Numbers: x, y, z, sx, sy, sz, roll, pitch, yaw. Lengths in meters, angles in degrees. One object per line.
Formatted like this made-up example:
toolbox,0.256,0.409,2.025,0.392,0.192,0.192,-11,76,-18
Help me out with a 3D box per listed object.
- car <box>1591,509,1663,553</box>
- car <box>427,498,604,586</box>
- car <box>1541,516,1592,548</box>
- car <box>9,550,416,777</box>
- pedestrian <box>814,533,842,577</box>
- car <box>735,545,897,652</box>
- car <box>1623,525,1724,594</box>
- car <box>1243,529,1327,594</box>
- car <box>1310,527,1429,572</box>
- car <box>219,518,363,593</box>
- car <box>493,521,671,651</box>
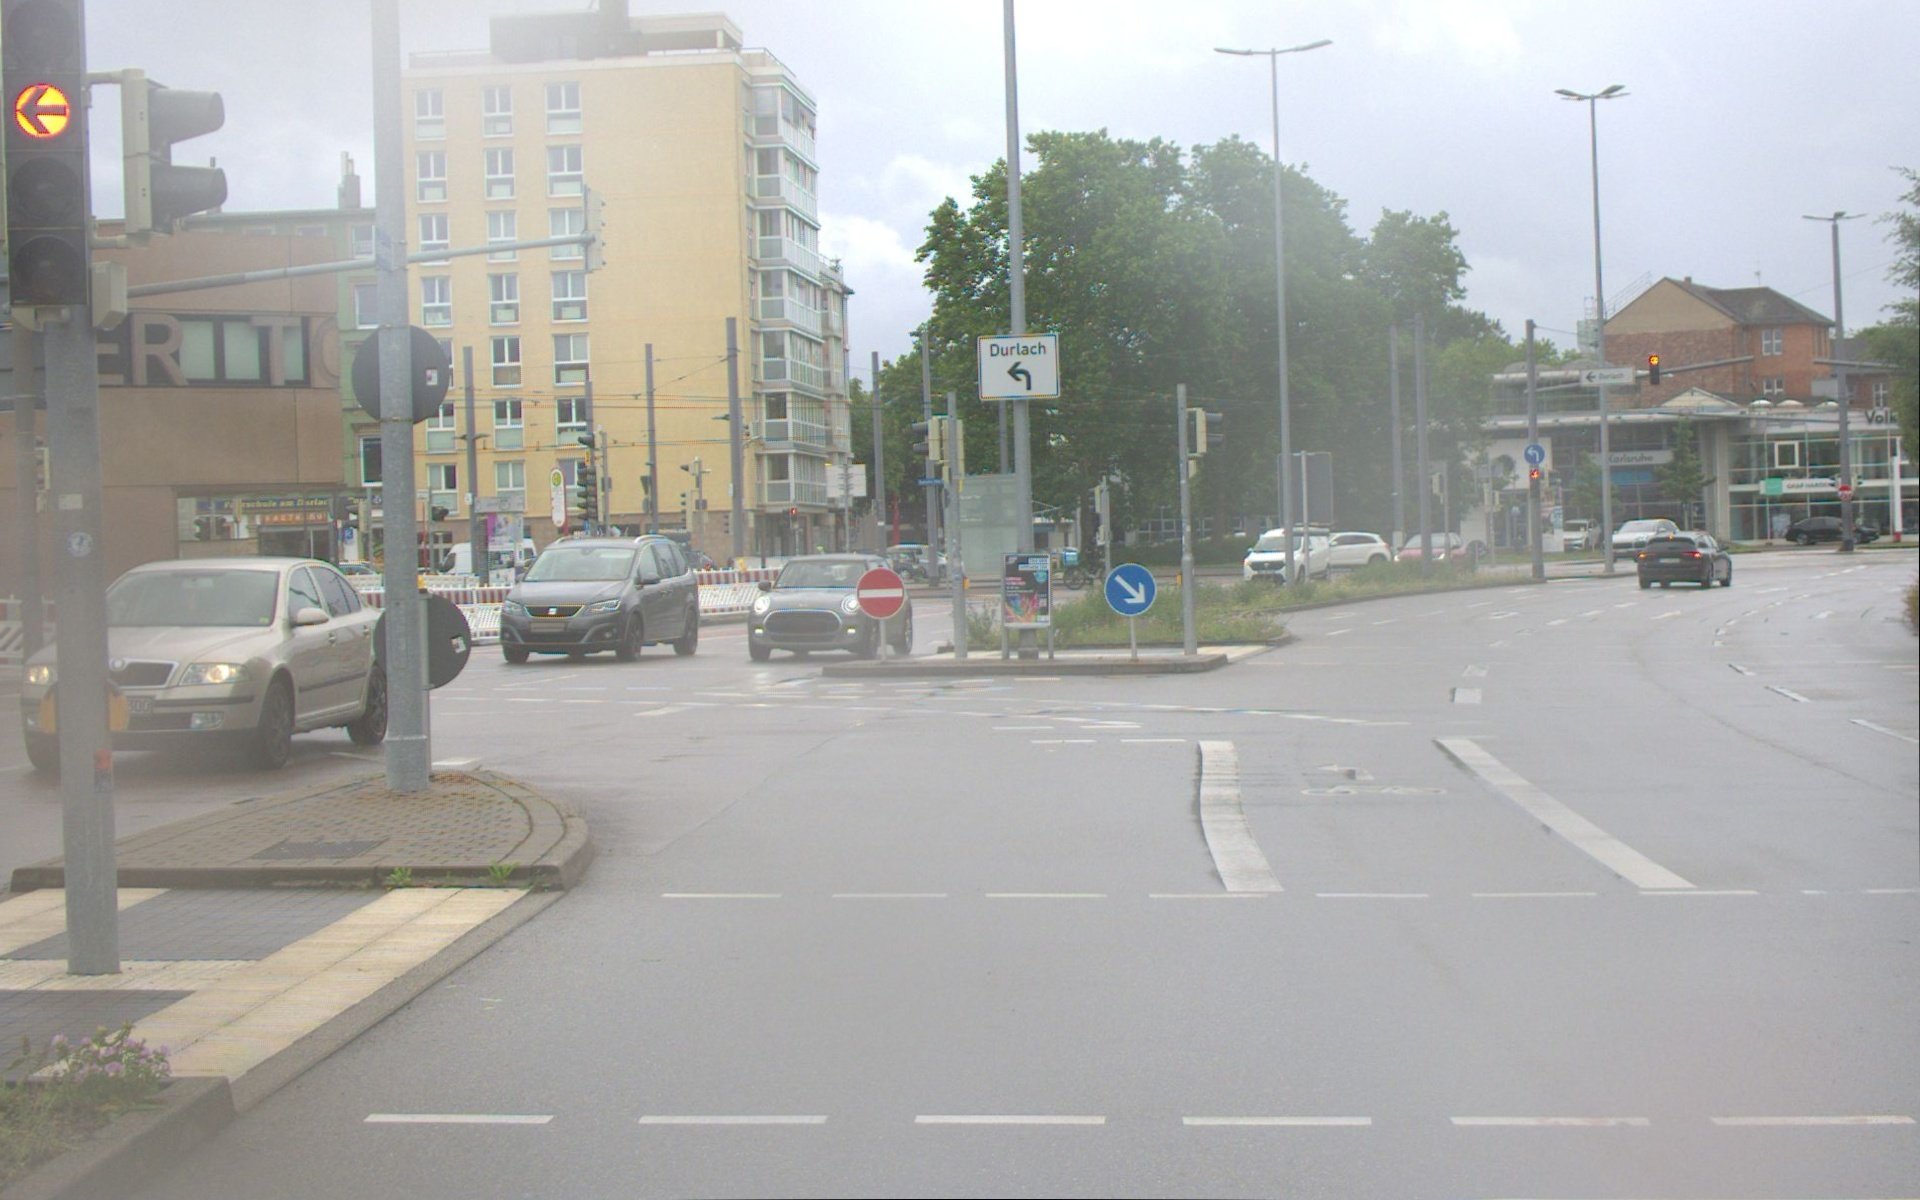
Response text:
car,26.306,-2.724,135.427,1.792,1.637,4.154,-1,1,25
car,-18.248,-2.412,141.466,6.742,3.368,2.809,-2,1,2
car,32.904,-3.713,186.498,1.792,1.637,4.154,-1,1,23
car,-5.300,0.395,24.941,1.694,1.411,4.183,-2,1,5
pedestrian,-5.552,-1.896,144.454,1.092,1.807,1.119,-2,1,-4
car,-1.957,-0.052,47.802,1.772,1.371,4.120,-1,1,4
car,18.048,-1.031,86.829,1.792,1.637,4.155,-1,1,21
car,9.788,-1.181,103.311,1.791,1.852,4.156,-1,1,15
car,16.006,-1.972,134.407,4.382,1.637,1.796,-2,1,-29
car,-27.618,-1.848,142.108,5.351,2.877,2.339,-2,1,2
car,-5.197,-0.239,47.793,1.772,1.673,4.769,-1,1,2
